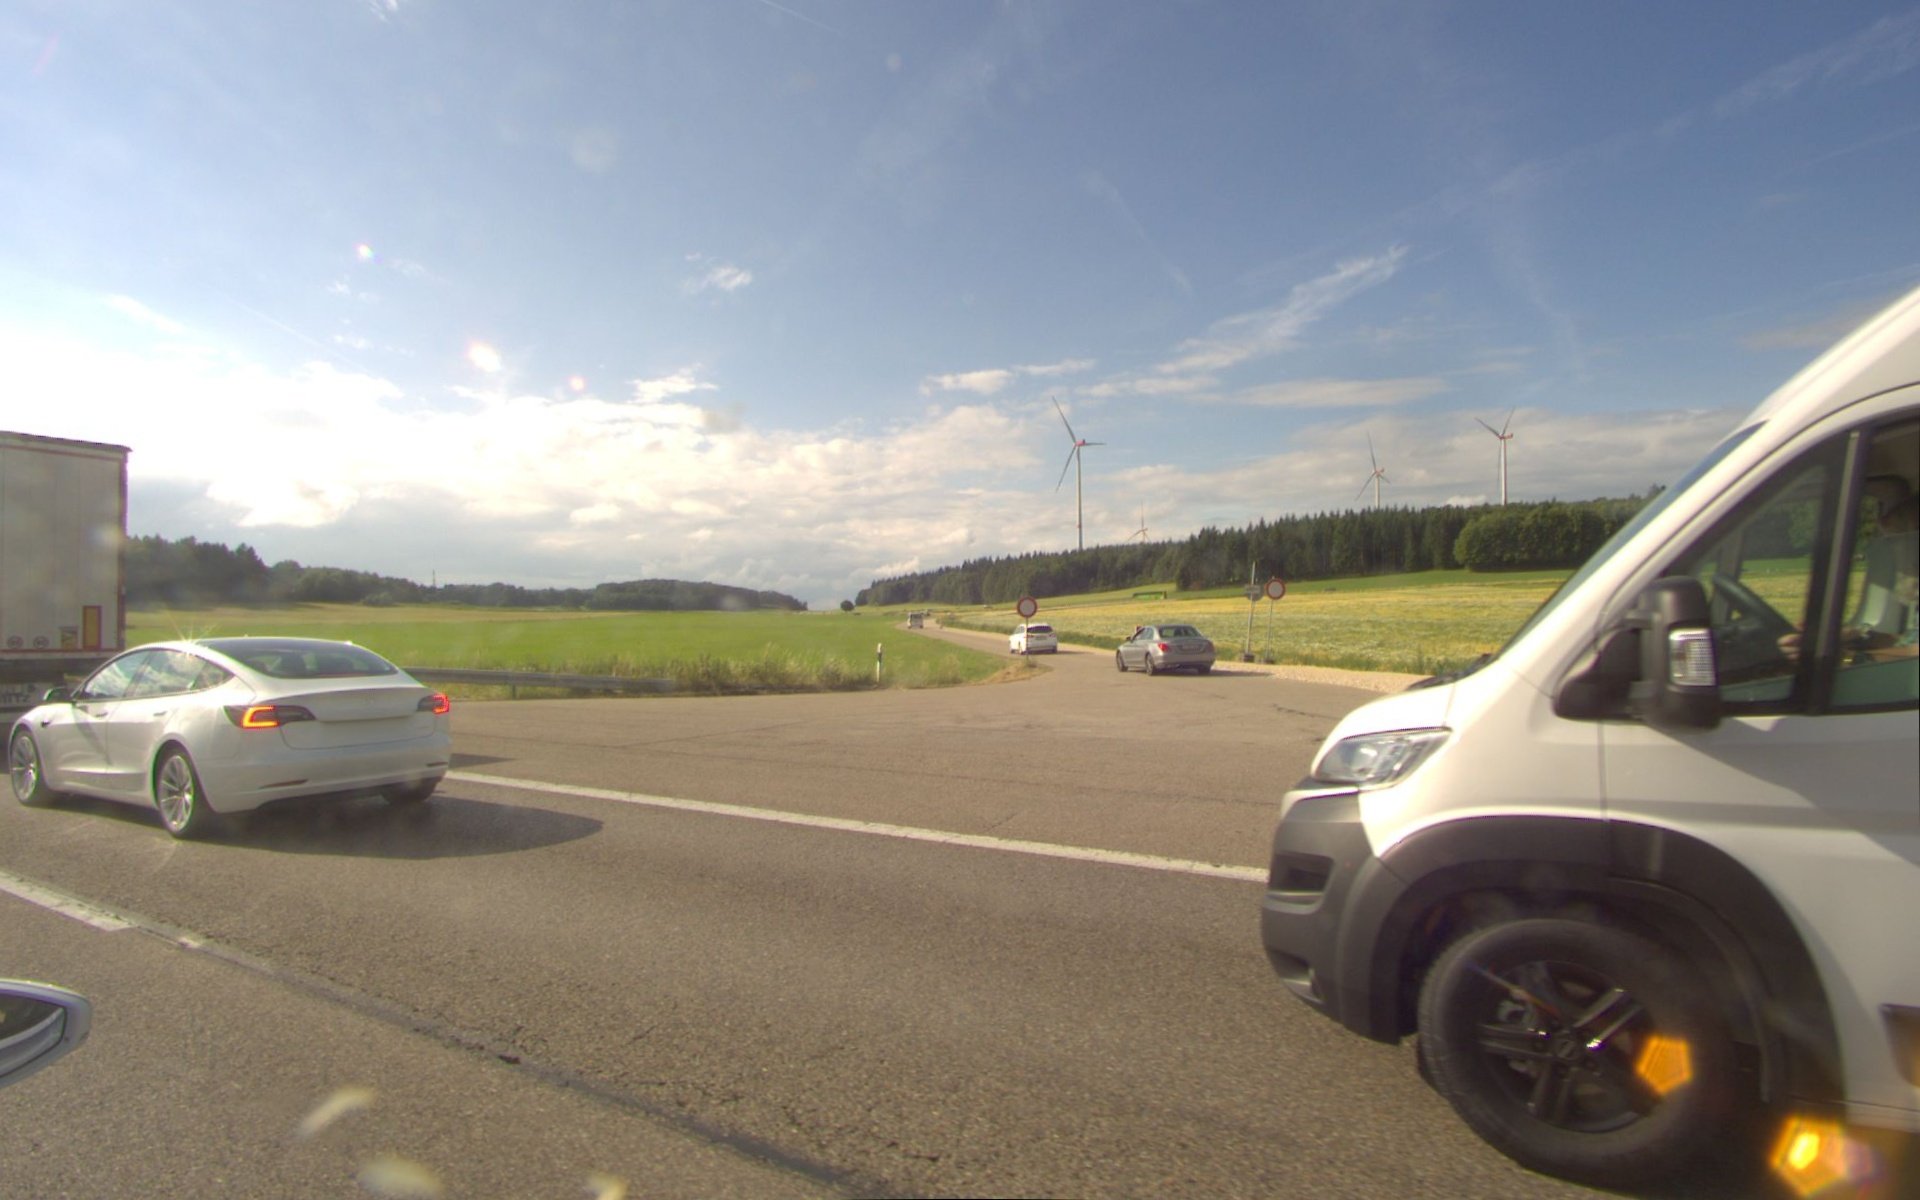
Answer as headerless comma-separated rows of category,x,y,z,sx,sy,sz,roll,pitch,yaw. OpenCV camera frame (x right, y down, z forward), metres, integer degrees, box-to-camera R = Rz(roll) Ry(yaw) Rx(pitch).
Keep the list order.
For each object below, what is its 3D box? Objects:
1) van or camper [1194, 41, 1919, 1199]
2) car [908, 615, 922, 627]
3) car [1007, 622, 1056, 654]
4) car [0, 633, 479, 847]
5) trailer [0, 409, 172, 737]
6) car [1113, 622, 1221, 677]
van or camper,3.943,0.117,2.324,6.242,2.716,2.211,-1,-1,32
car,-5.923,2.783,131.864,1.676,1.450,4.233,-1,-1,-4
car,3.478,1.847,49.212,1.676,1.450,4.232,-1,-1,-6
car,-6.277,0.996,8.571,4.371,1.412,1.786,-1,-1,30
trailer,-17.273,-0.082,16.150,13.181,4.061,3.125,-3,-2,33
car,5.930,1.401,29.216,1.676,1.450,4.231,-1,-1,-9
